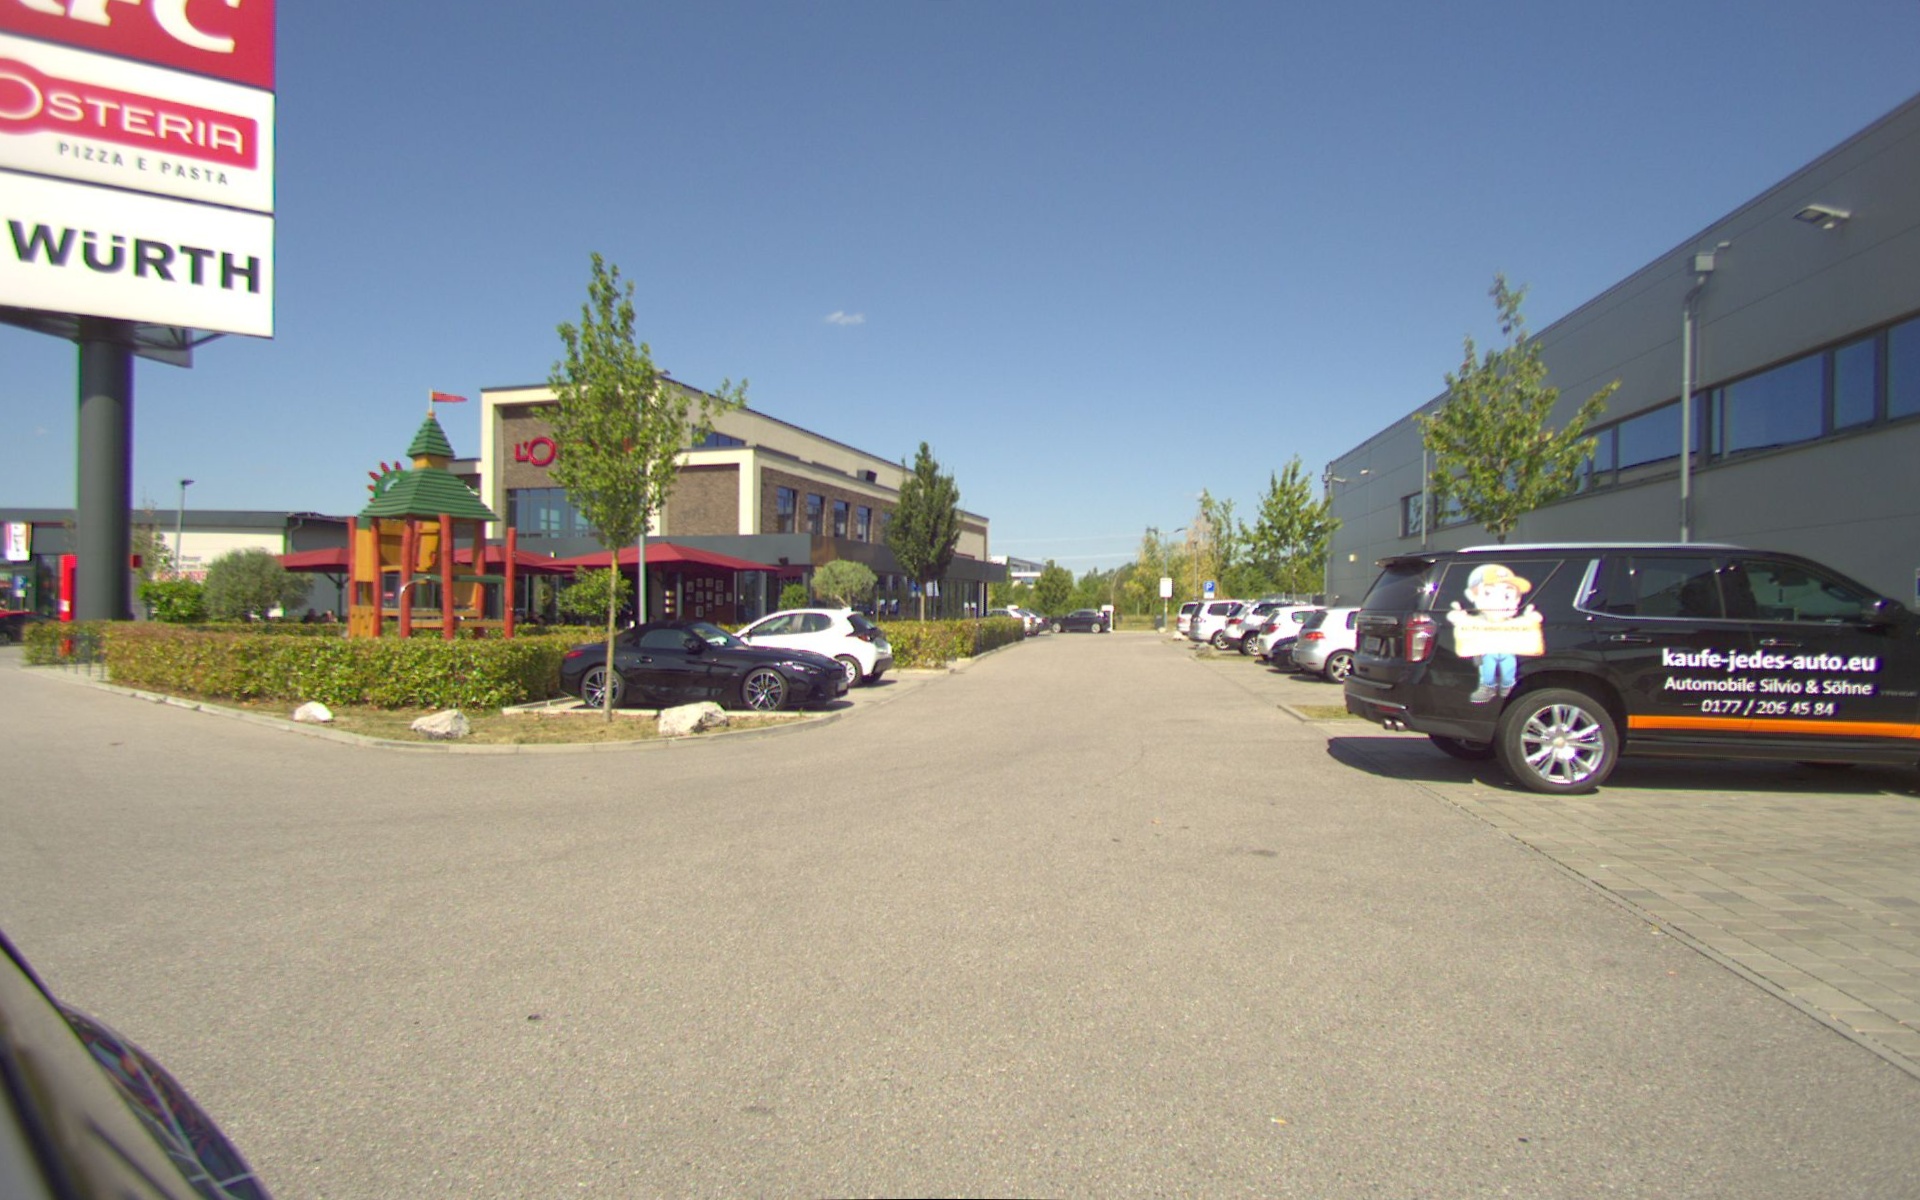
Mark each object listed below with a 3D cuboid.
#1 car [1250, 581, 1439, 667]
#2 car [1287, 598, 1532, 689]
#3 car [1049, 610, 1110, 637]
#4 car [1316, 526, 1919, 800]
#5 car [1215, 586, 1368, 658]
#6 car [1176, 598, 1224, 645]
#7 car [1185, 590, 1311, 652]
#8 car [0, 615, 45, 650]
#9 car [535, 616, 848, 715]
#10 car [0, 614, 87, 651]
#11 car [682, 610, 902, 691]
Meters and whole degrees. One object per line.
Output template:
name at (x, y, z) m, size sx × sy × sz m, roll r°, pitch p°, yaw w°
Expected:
car at (9.432, 0.591, 25.101) m, size 3.950 × 2.029 × 1.997 m, roll 0°, pitch 0°, yaw 6°
car at (8.485, 0.807, 19.439) m, size 3.956 × 1.629 × 1.776 m, roll 0°, pitch -1°, yaw 10°
car at (8.209, 1.581, 69.438) m, size 3.961 × 1.799 × 1.764 m, roll 0°, pitch 0°, yaw 14°
car at (5.949, 0.469, 8.392) m, size 5.319 × 1.953 × 2.026 m, roll 0°, pitch -1°, yaw 9°
car at (9.604, 0.635, 29.627) m, size 3.955 × 2.029 × 1.994 m, roll 0°, pitch 0°, yaw 10°
car at (10.662, 0.907, 44.758) m, size 1.780 × 1.953 × 3.976 m, roll 0°, pitch 0°, yaw 18°
car at (9.727, 0.694, 34.487) m, size 3.957 × 2.029 × 1.993 m, roll 0°, pitch 0°, yaw 11°
car at (-44.088, 1.458, 45.445) m, size 1.864 × 1.577 × 4.071 m, roll -1°, pitch -1°, yaw 19°
car at (-3.865, 0.912, 14.941) m, size 4.105 × 1.348 × 1.827 m, roll 0°, pitch -1°, yaw 7°
car at (-41.490, 1.396, 44.686) m, size 1.864 × 1.577 × 4.071 m, roll -1°, pitch -1°, yaw 19°
car at (-3.237, 0.944, 19.752) m, size 3.874 × 1.486 × 1.796 m, roll 0°, pitch -1°, yaw 13°
